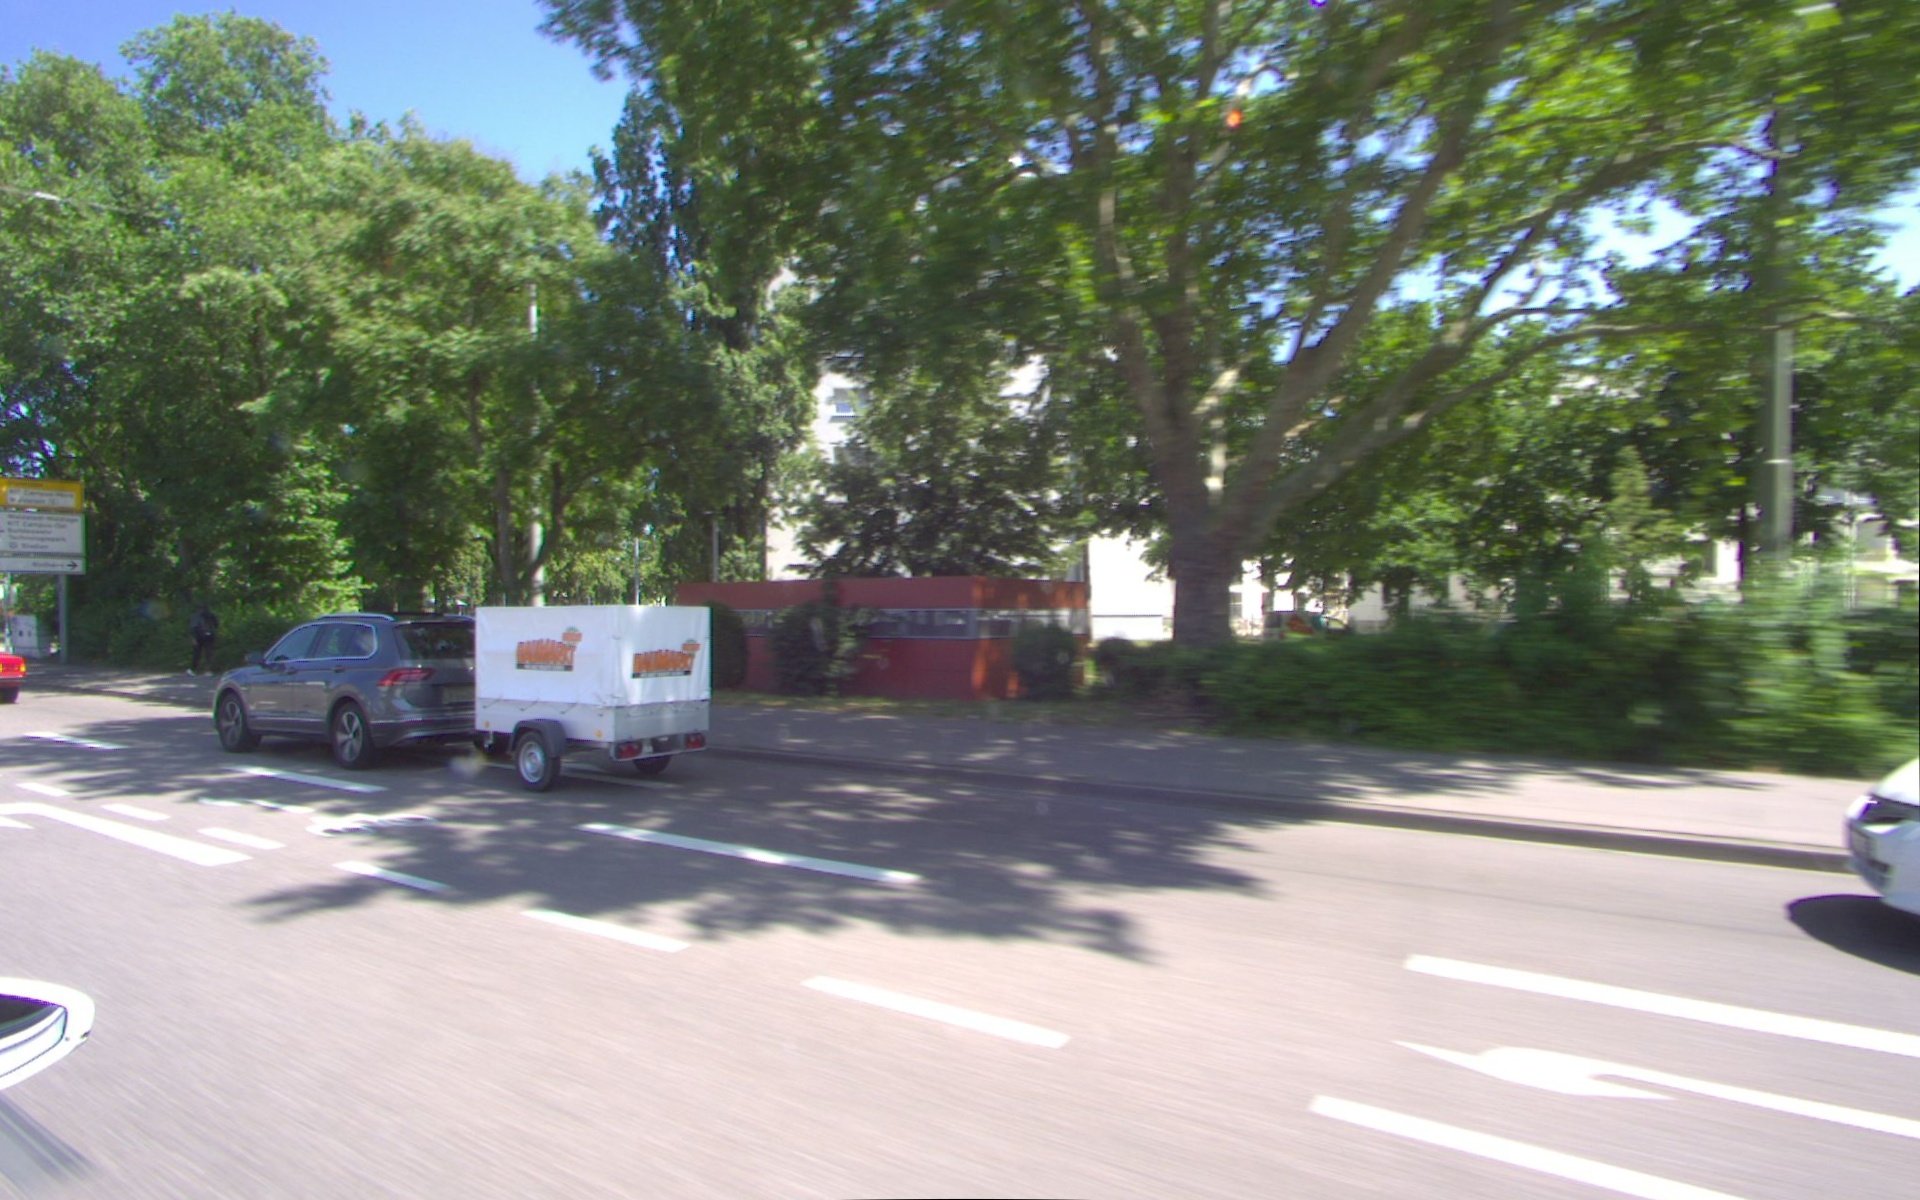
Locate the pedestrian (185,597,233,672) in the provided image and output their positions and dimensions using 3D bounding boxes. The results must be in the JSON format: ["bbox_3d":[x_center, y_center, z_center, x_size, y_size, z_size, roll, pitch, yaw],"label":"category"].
[{"bbox_3d":[-18.658,0.844,24.882,0.683,1.840,0.751,0,1,31],"label":"pedestrian"}]

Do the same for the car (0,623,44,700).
[{"bbox_3d":[-19.612,1.138,19.385,4.204,1.414,1.653,0,-2,31],"label":"car"}]

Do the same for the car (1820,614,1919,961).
[{"bbox_3d":[6.170,0.839,4.080,3.823,1.507,1.717,0,-2,33],"label":"car"}]

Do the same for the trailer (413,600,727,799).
[{"bbox_3d":[-3.867,0.874,9.890,2.814,1.690,1.467,0,-2,31],"label":"trailer"}]

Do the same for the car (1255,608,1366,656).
[{"bbox_3d":[13.406,1.230,38.371,3.681,1.723,1.739,1,-1,-14],"label":"car"}]

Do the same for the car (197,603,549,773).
[{"bbox_3d":[-6.957,0.901,11.746,4.334,1.675,1.697,0,-2,31],"label":"car"}]
